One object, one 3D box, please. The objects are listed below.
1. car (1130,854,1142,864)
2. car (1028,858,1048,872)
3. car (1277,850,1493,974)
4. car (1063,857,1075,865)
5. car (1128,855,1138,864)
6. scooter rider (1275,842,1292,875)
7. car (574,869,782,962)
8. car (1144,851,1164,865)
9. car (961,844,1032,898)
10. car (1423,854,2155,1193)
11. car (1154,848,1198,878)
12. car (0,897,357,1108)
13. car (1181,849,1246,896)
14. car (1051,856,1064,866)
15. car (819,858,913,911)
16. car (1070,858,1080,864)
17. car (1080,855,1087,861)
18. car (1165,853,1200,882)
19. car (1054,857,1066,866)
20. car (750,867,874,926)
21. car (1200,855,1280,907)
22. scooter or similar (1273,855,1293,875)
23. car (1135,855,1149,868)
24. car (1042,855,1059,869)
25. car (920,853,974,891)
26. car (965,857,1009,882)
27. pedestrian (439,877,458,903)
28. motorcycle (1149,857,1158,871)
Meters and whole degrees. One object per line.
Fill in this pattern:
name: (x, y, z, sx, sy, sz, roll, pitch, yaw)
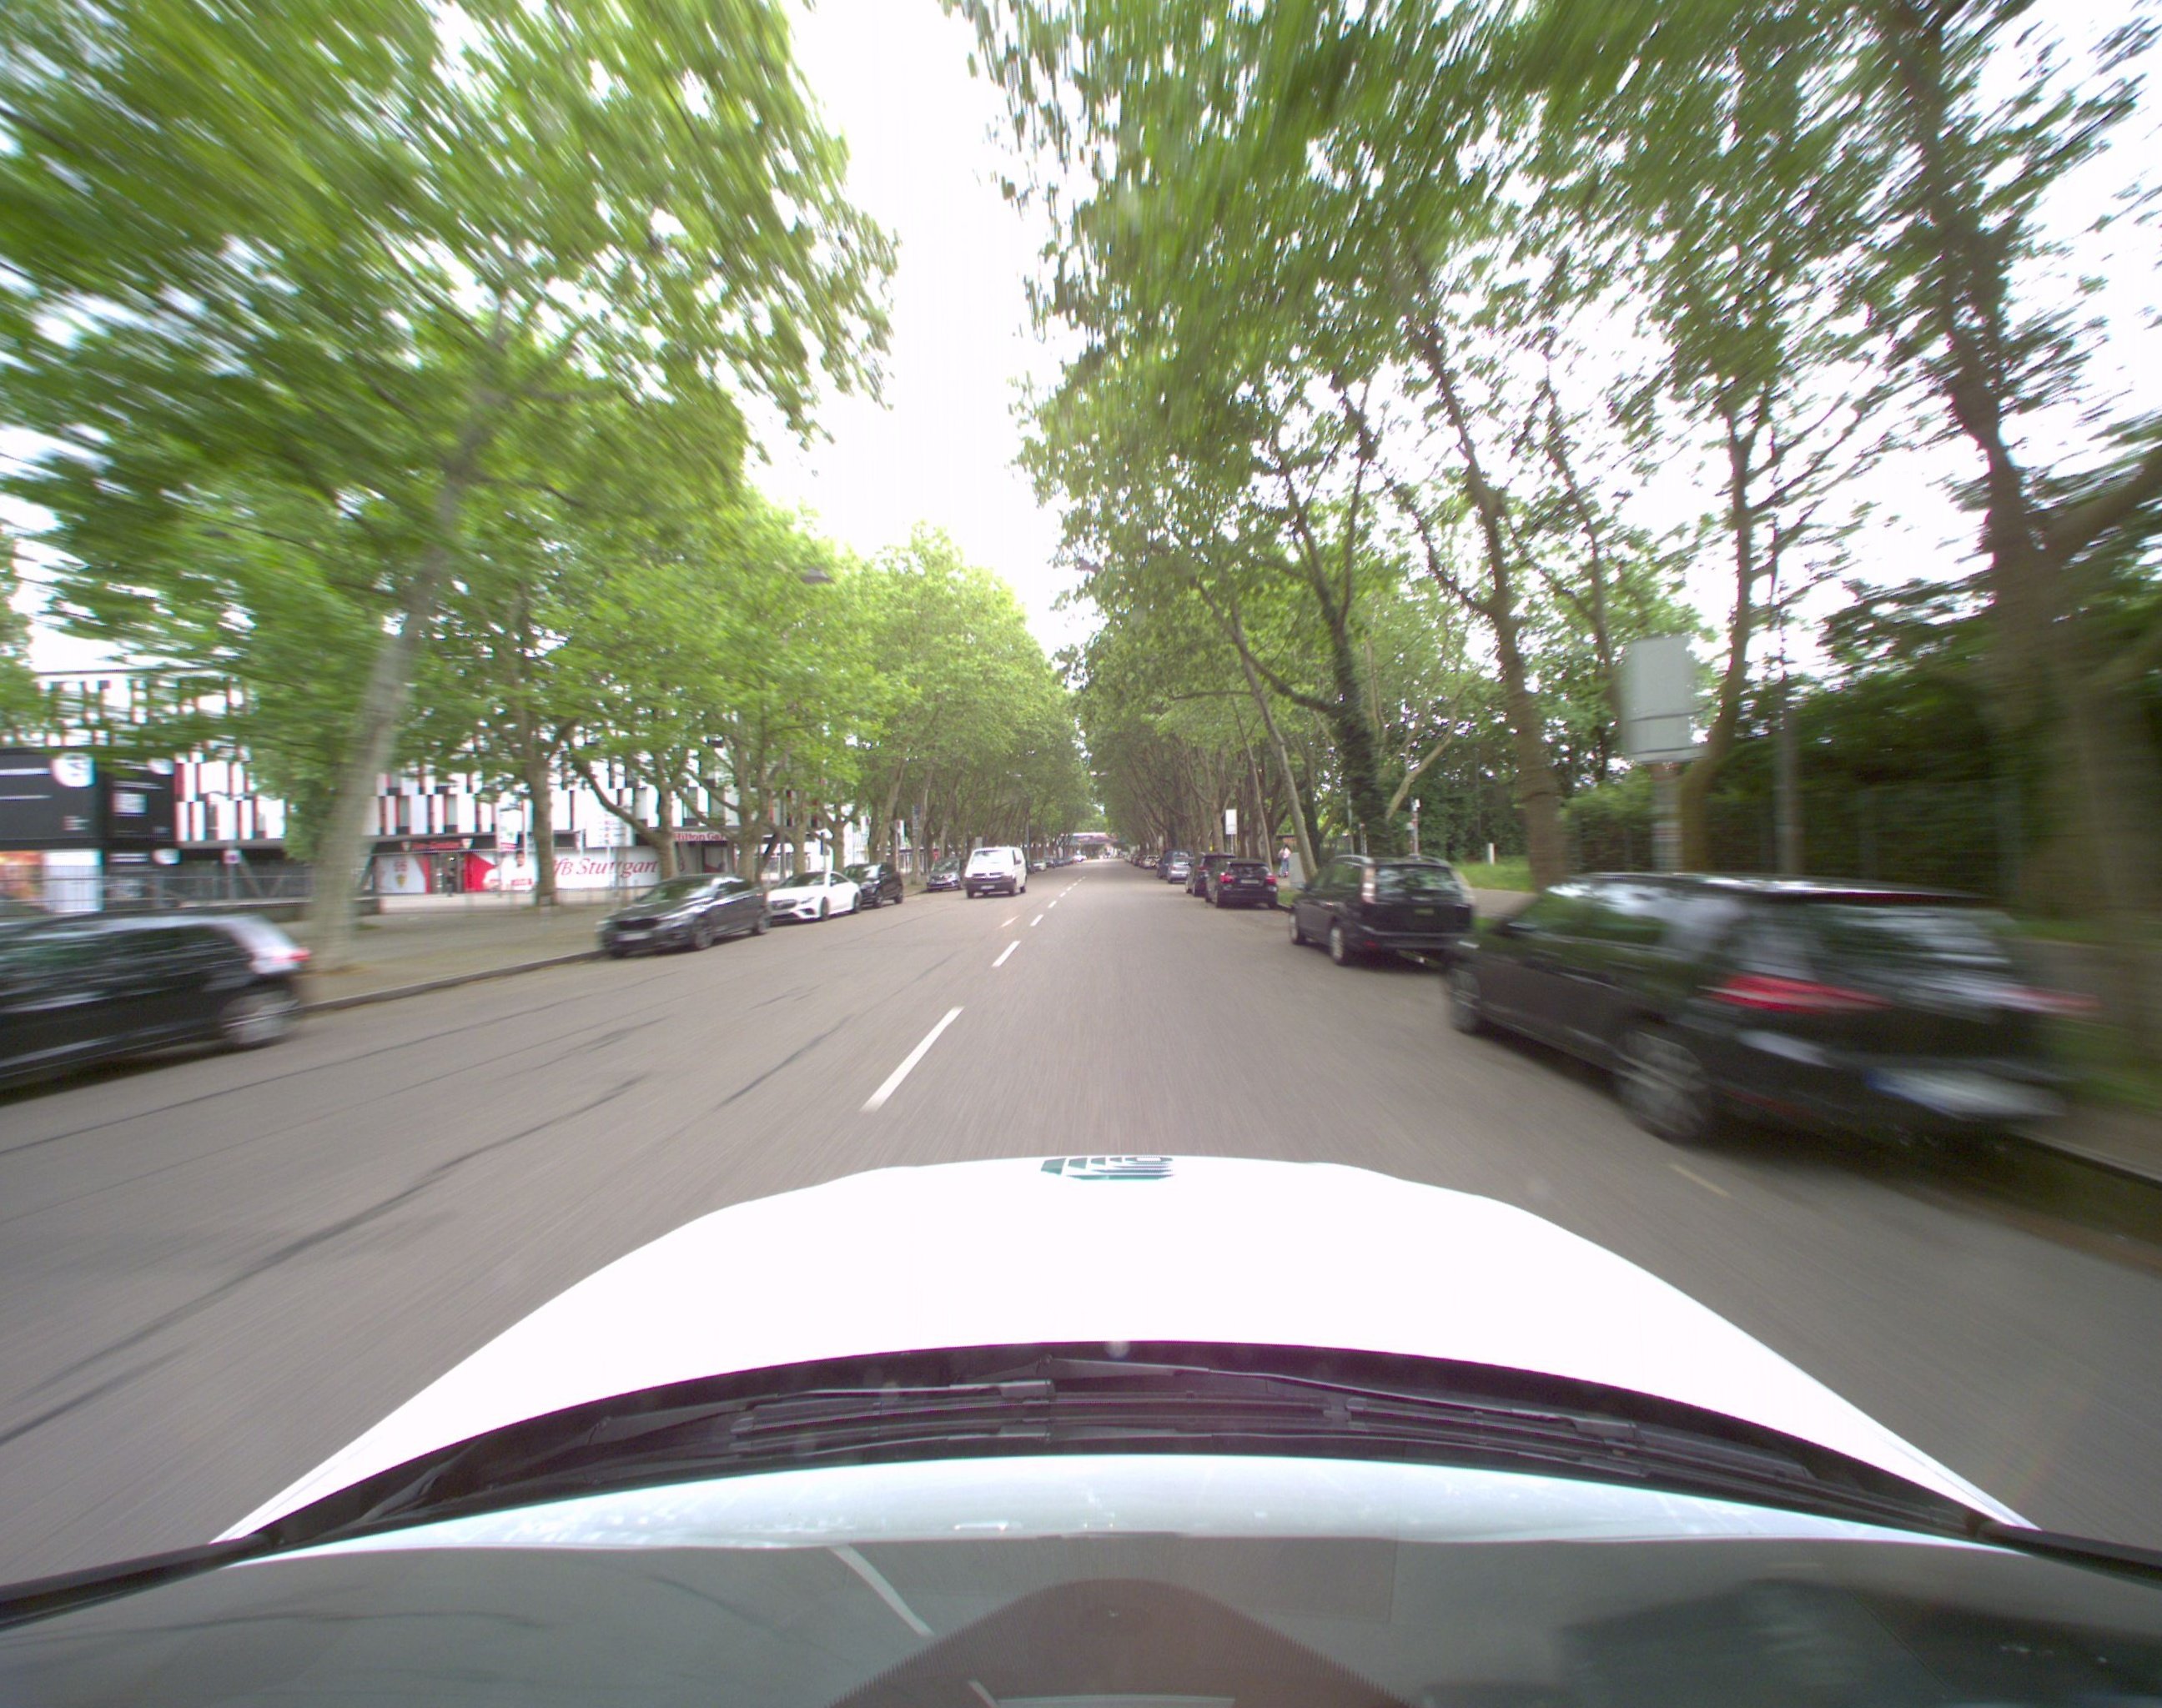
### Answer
car: (9.267, 0.815, 137.591, 1.701, 1.698, 4.631, 0, 0, 1)
car: (-5.129, 1.285, 97.611, 1.896, 1.403, 4.754, -5, 0, 2)
car: (4.386, 0.726, 12.535, 1.770, 1.553, 4.397, 1, 0, 1)
car: (-2.329, 1.435, 158.926, 1.818, 1.465, 4.633, -3, -1, 4)
car: (10.499, 1.134, 163.967, 1.895, 1.739, 4.509, -1, 0, 2)
scooter rider: (11.088, 0.247, 44.638, 0.674, 1.800, 0.588, -4, 0, 2)
car: (-8.072, 1.132, 16.951, 1.814, 1.484, 4.991, -3, 0, -1)
car: (7.667, 0.407, 85.946, 1.729, 1.438, 4.123, -2, 0, 1)
car: (-3.343, 0.636, 33.323, 2.051, 1.961, 5.469, -2, 0, 2)
car: (4.032, 0.753, 5.731, 1.731, 1.471, 4.155, 1, 0, 3)
car: (6.007, 0.534, 51.940, 1.840, 1.783, 4.437, 1, 0, -6)
car: (-8.703, 1.230, 6.533, 1.701, 1.382, 4.333, -5, 0, 2)
car: (4.956, 0.644, 30.930, 1.822, 1.602, 4.468, 1, 0, 1)
car: (-3.678, 1.076, 129.048, 1.718, 1.486, 4.577, -2, 0, 2)
car: (-7.549, 1.033, 29.058, 1.809, 1.594, 4.349, -5, 0, 4)
car: (-1.541, 1.769, 203.852, 2.065, 1.563, 4.759, -2, 0, 3)
car: (0.833, 1.233, 254.066, 1.989, 1.601, 3.996, -1, 0, -3)
car: (5.511, 0.714, 44.572, 1.612, 1.461, 3.950, 1, 0, 4)
car: (-3.793, 1.311, 146.876, 1.870, 1.527, 4.153, -3, 0, 3)
car: (-7.810, 1.170, 24.205, 1.809, 1.362, 5.007, -4, 0, 1)
car: (4.779, 0.764, 25.014, 1.769, 1.418, 4.290, 1, 0, 2)
scooter or similar: (11.110, 0.601, 44.799, 0.677, 1.038, 1.468, -4, 0, 2)
car: (8.037, 0.969, 107.837, 1.748, 1.620, 4.442, 0, 0, 2)
car: (-4.090, 1.073, 110.885, 1.942, 1.750, 4.640, -3, 0, 2)
car: (-7.160, 0.924, 44.043, 1.888, 1.795, 4.614, -4, -1, 2)
car: (-6.551, 1.067, 57.392, 2.075, 1.530, 5.150, -3, 0, 4)
pedestrian: (-42.695, 2.428, 54.974, 0.640, 1.690, 0.694, -2, 0, 4)
motorcycle: (7.159, 0.971, 80.685, 0.708, 1.331, 1.998, -1, 0, 10)
